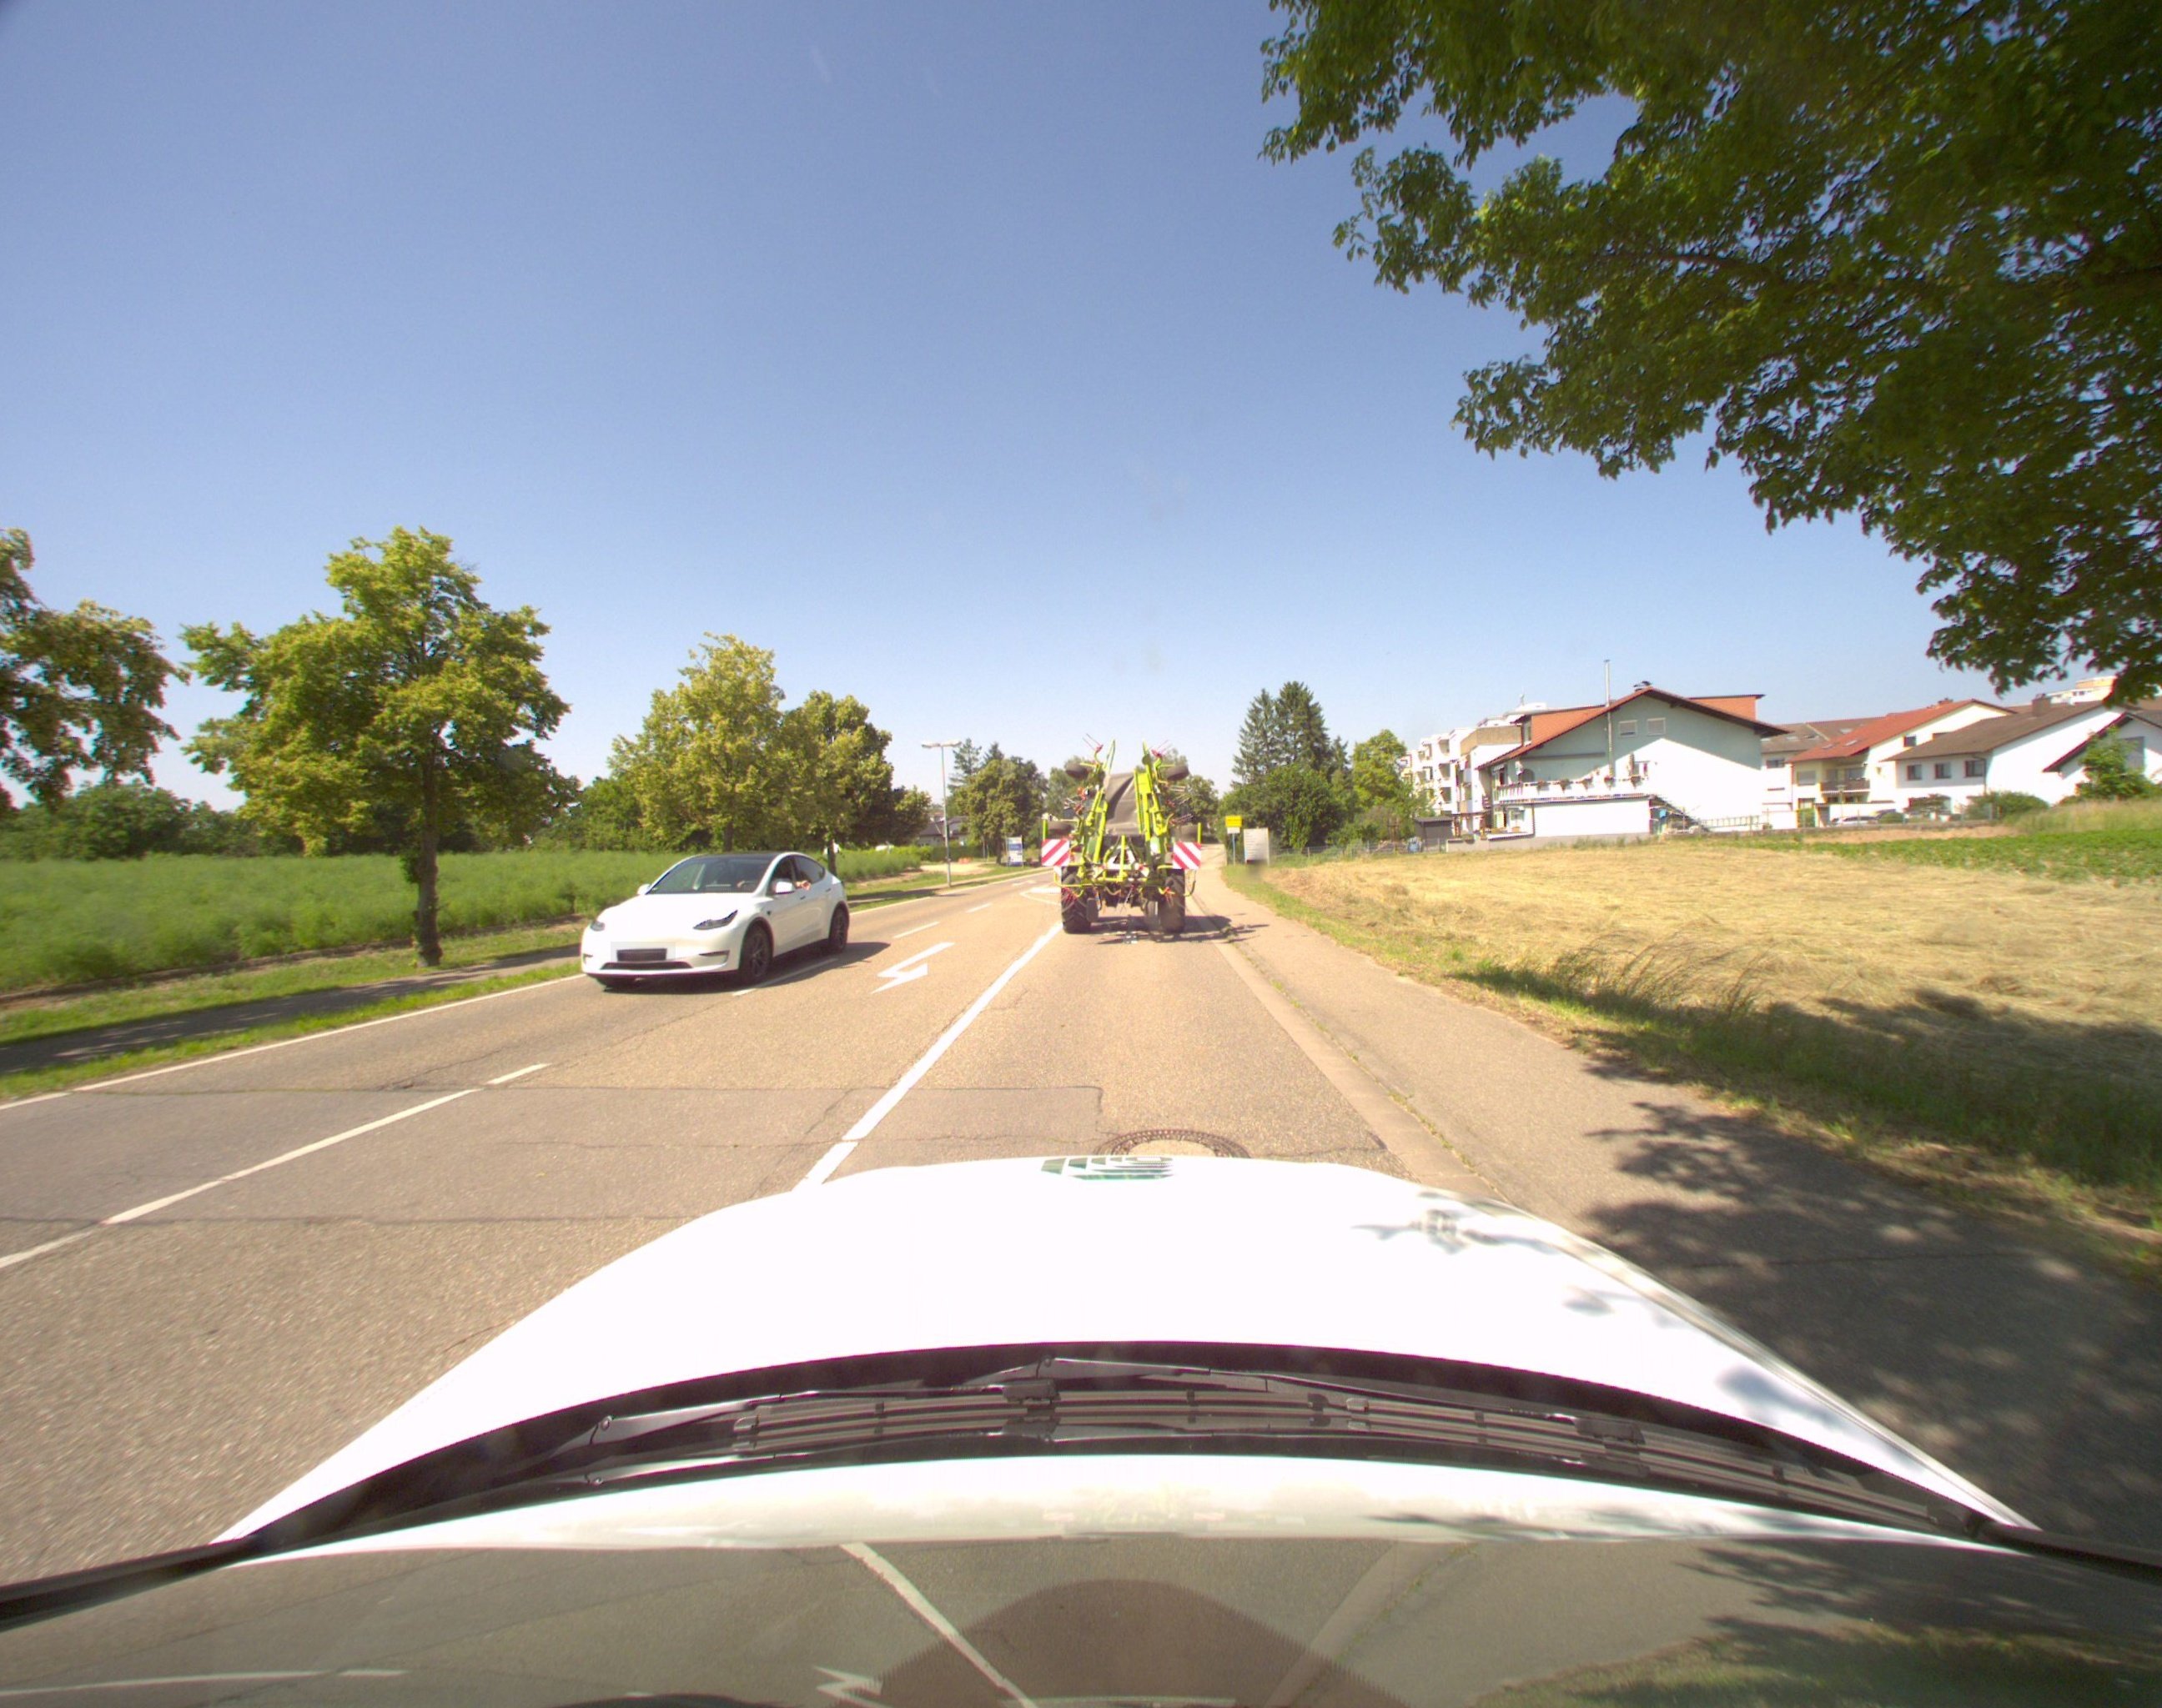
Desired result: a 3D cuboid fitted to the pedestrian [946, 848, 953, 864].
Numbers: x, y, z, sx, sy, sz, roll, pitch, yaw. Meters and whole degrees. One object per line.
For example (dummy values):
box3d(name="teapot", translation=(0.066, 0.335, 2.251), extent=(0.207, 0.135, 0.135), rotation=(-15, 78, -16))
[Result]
box3d(name="pedestrian", translation=(-14.139, 0.233, 87.545), extent=(0.550, 1.717, 0.671), rotation=(1, -3, -20))

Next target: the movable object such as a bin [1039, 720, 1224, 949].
box3d(name="movable object such as a bin", translation=(0.968, -0.412, 17.455), extent=(2.842, 3.541, 9.707), rotation=(0, 1, 2))

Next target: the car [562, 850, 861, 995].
box3d(name="car", translation=(-4.750, 0.761, 11.345), extent=(1.868, 1.572, 4.476), rotation=(-1, 0, 3))
